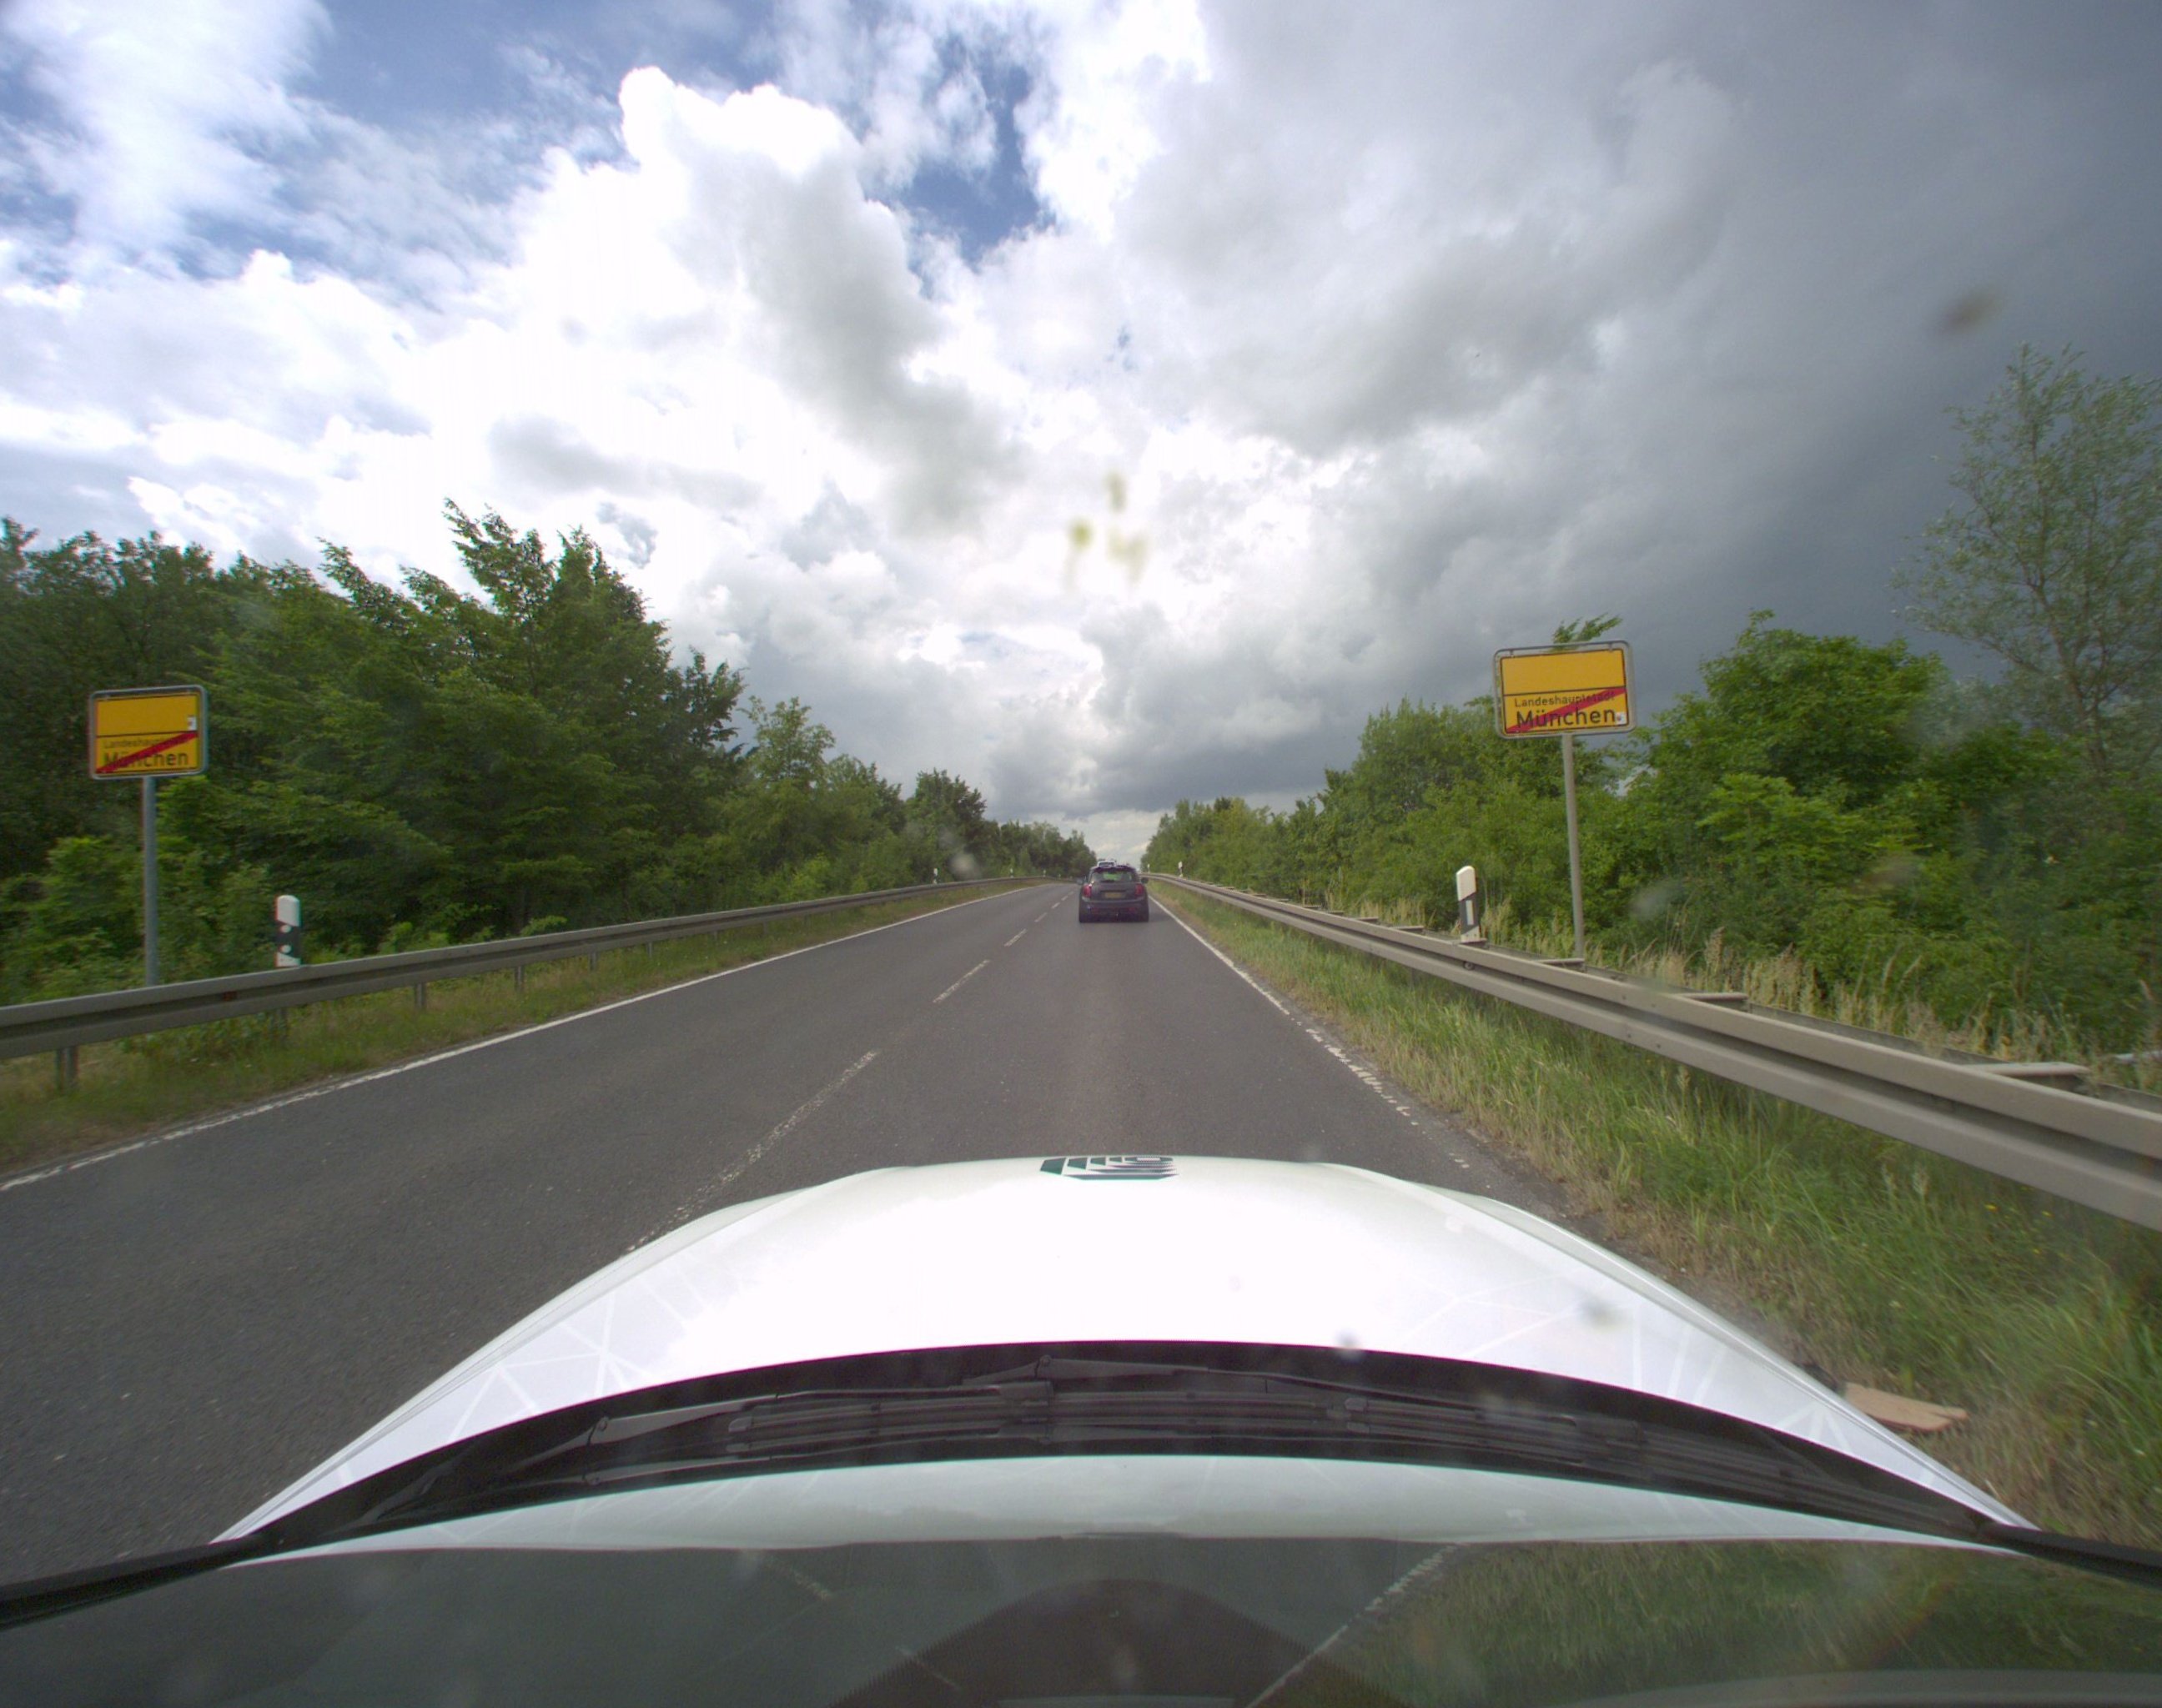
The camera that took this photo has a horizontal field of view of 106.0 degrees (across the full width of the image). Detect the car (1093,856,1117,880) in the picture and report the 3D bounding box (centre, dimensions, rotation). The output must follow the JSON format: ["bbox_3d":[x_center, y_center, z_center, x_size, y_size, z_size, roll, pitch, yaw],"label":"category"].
[{"bbox_3d":[2.140,1.205,71.823,2.014,2.013,4.002,-2,-1,2],"label":"car"}]

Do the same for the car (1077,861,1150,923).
[{"bbox_3d":[0.905,0.931,21.558,1.724,1.456,4.003,-1,-1,3],"label":"car"}]

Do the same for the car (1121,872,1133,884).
[{"bbox_3d":[9.521,4.852,167.239,1.984,2.013,4.007,-9,0,6],"label":"car"}]
